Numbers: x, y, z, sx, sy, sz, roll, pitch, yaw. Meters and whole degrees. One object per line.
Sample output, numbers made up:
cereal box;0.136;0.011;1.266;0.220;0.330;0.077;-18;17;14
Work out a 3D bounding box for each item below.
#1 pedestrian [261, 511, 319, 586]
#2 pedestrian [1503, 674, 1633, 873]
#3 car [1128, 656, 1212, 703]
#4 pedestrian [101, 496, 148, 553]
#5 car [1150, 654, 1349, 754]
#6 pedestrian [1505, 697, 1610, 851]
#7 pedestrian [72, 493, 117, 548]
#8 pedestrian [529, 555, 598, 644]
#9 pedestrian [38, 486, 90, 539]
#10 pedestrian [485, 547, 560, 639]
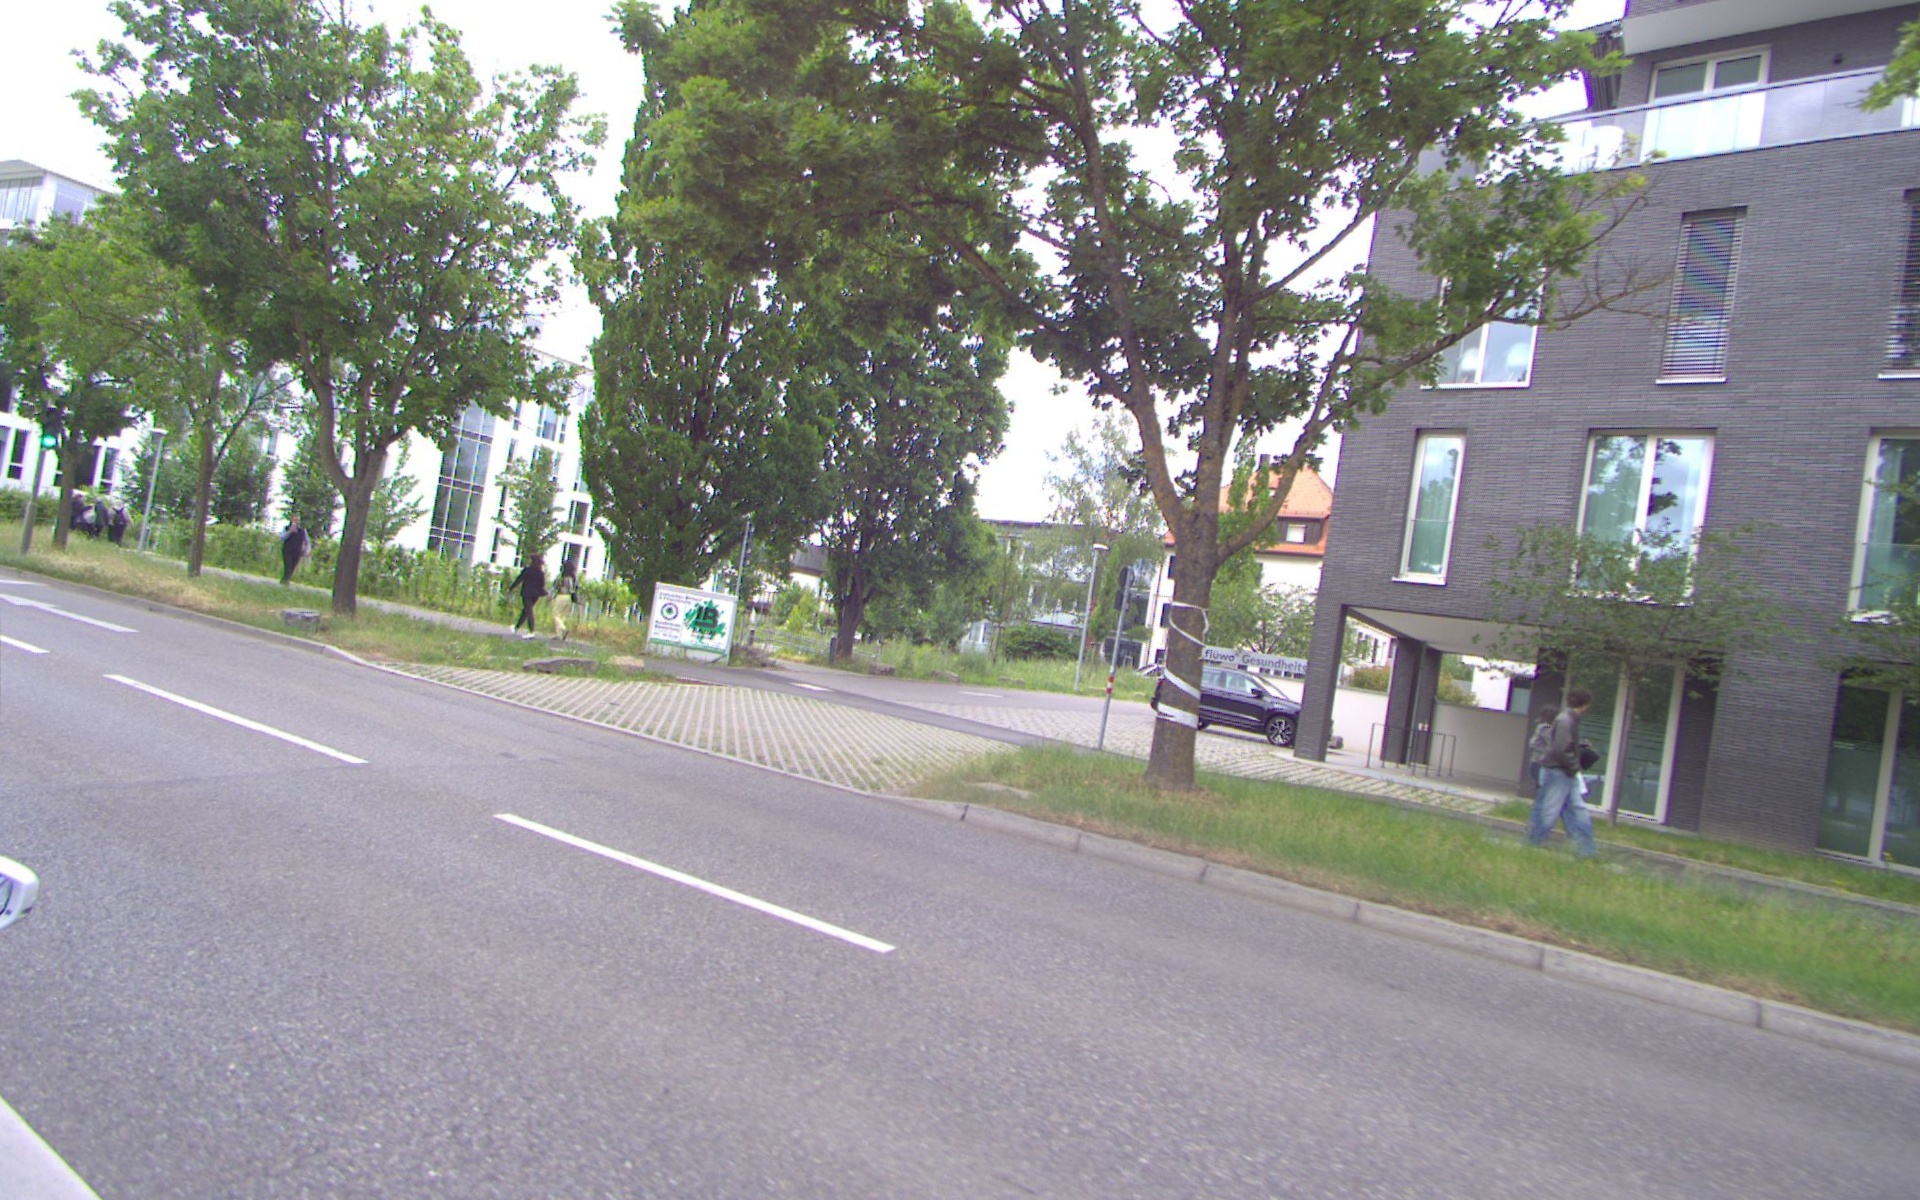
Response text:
pedestrian;-15.580;-1.192;23.385;0.663;1.592;0.743;7;-1;31
pedestrian;6.576;1.834;10.873;0.963;1.889;0.961;7;-2;34
car;11.984;4.545;57.503;4.060;2.036;1.999;9;-2;-7
pedestrian;-27.228;-2.459;32.784;0.869;1.704;0.768;7;-1;32
car;6.862;2.447;23.979;4.081;1.665;1.759;7;-2;33
pedestrian;6.949;1.995;11.689;0.861;1.575;0.834;7;-2;34
pedestrian;-27.652;-2.545;32.141;0.869;1.614;0.701;7;-1;32
pedestrian;-8.286;-0.011;21.038;0.938;1.679;0.778;7;-2;38
pedestrian;-28.035;-2.734;31.471;1.094;1.465;0.791;7;-2;32
pedestrian;-8.857;-0.143;20.382;1.043;1.679;0.796;7;-2;38
